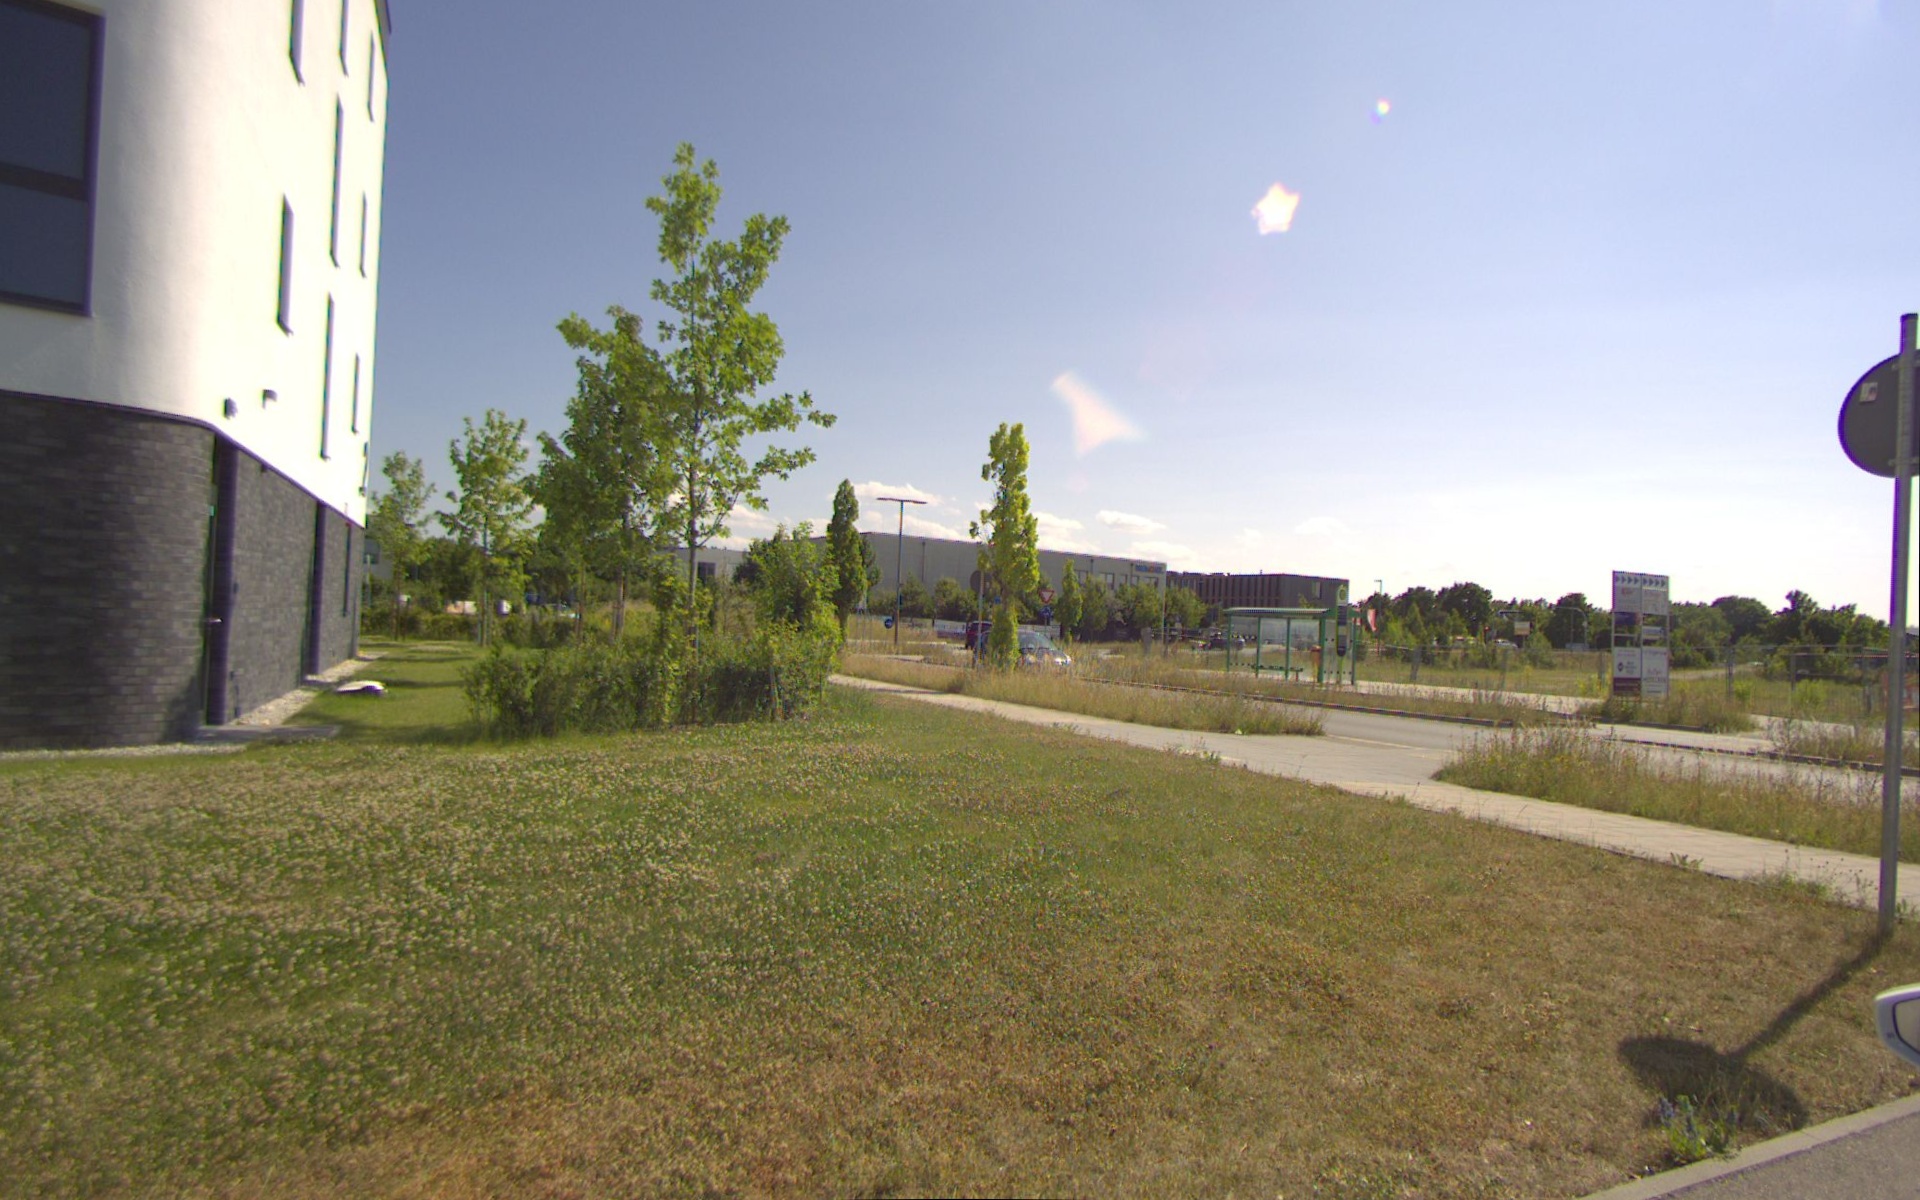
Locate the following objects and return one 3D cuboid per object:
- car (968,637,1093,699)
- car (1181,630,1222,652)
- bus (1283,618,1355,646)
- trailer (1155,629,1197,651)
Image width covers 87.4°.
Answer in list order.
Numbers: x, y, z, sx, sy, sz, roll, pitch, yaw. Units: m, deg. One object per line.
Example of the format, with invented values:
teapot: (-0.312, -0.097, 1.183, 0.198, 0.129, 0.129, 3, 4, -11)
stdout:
car: (2.035, 2.004, 30.071, 1.976, 1.571, 3.814, 3, -1, -29)
car: (23.513, 4.029, 97.652, 3.967, 1.884, 1.808, 4, -1, -39)
bus: (39.957, 3.588, 111.550, 11.490, 2.771, 2.547, 3, -1, -43)
trailer: (20.494, 3.795, 95.231, 3.967, 1.884, 1.808, 4, -1, -39)
